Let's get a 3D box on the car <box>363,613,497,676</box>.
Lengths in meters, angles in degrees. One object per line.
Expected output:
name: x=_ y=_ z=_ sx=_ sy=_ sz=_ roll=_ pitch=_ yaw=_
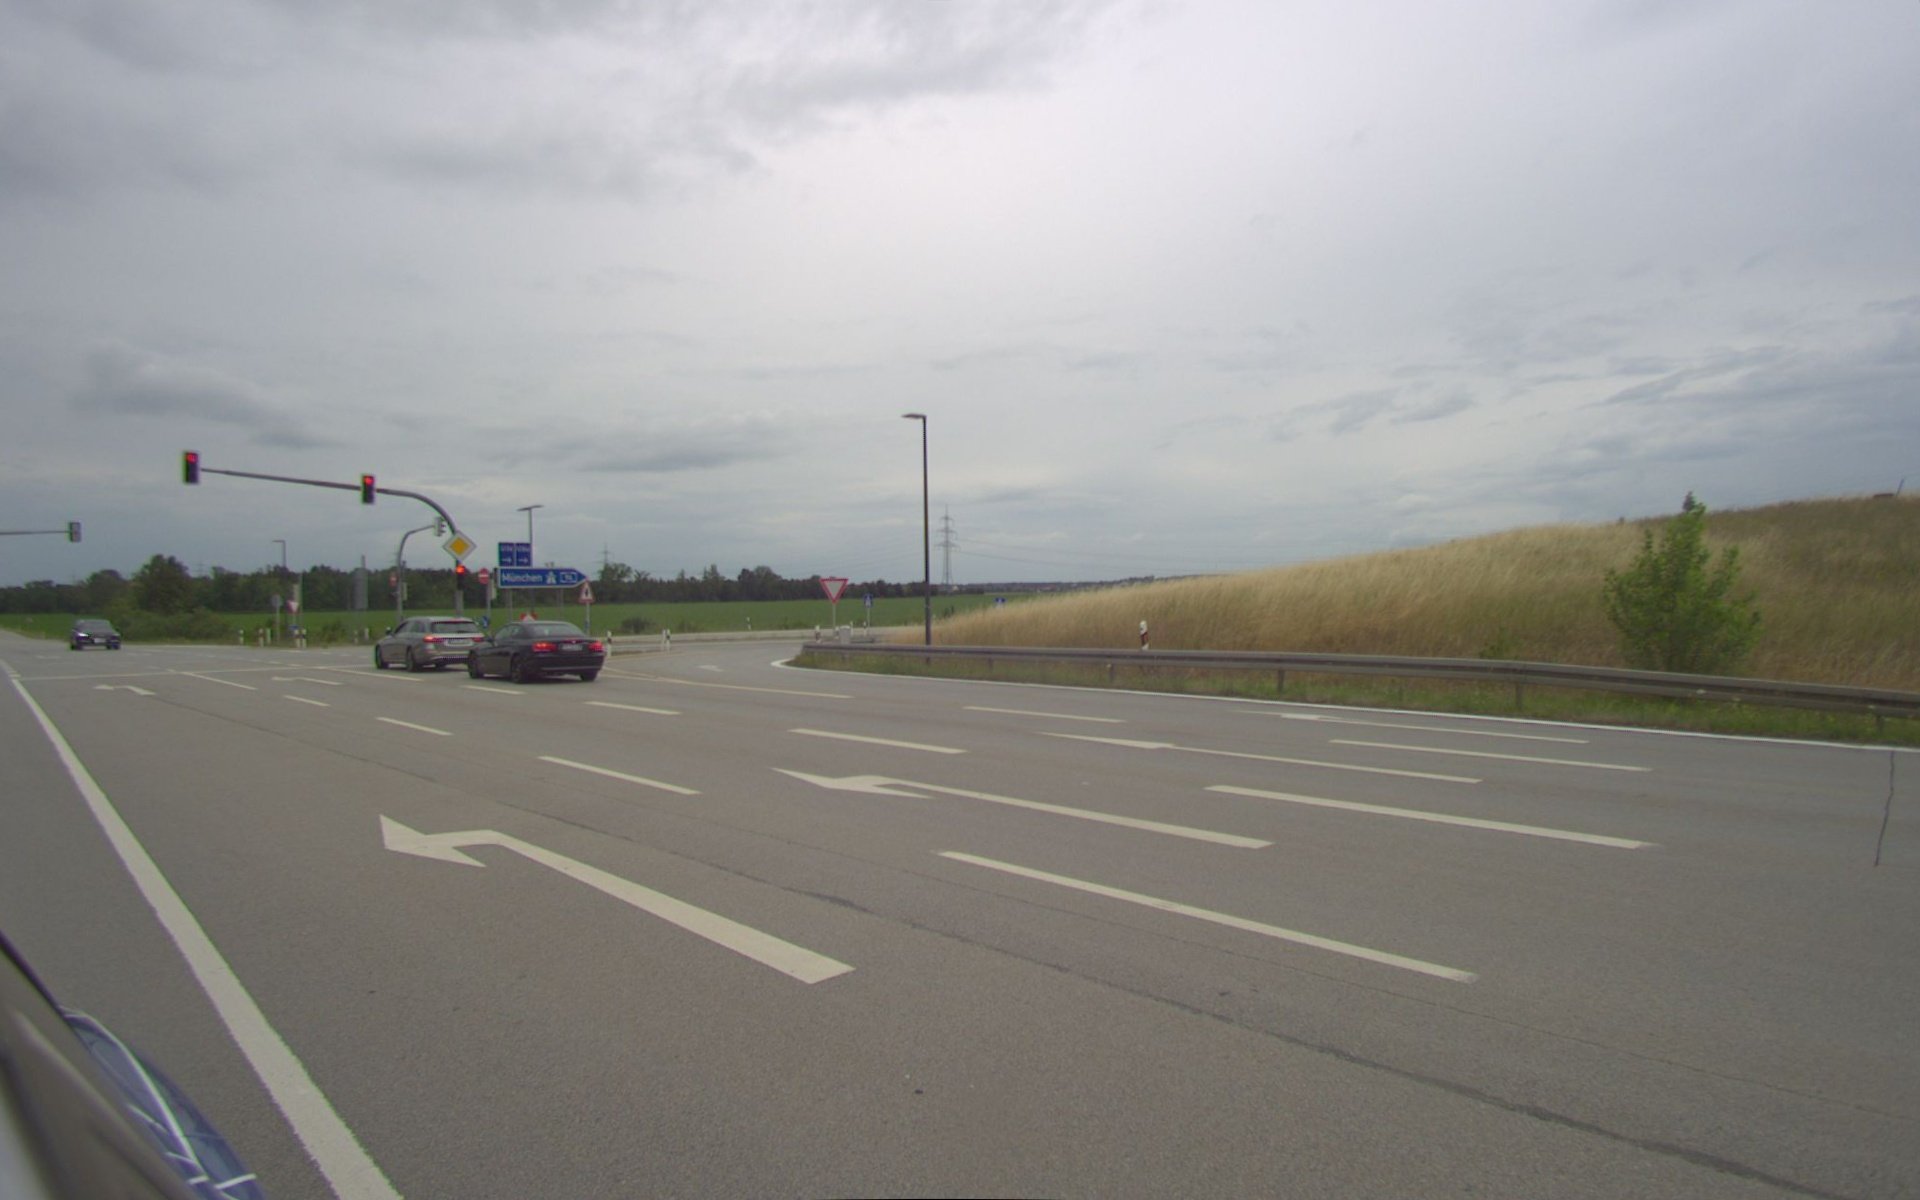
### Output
car: x=-14.979 y=1.219 z=28.493 sx=4.950 sy=1.623 sz=1.893 roll=-2 pitch=-3 yaw=44

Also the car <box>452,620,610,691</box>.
car: x=-9.962 y=1.202 z=23.312 sx=4.676 sy=1.421 sz=1.688 roll=-1 pitch=0 yaw=44

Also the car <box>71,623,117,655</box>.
car: x=-50.648 y=2.254 z=59.191 sx=1.969 sy=1.696 sz=5.006 roll=-1 pitch=-1 yaw=-41
